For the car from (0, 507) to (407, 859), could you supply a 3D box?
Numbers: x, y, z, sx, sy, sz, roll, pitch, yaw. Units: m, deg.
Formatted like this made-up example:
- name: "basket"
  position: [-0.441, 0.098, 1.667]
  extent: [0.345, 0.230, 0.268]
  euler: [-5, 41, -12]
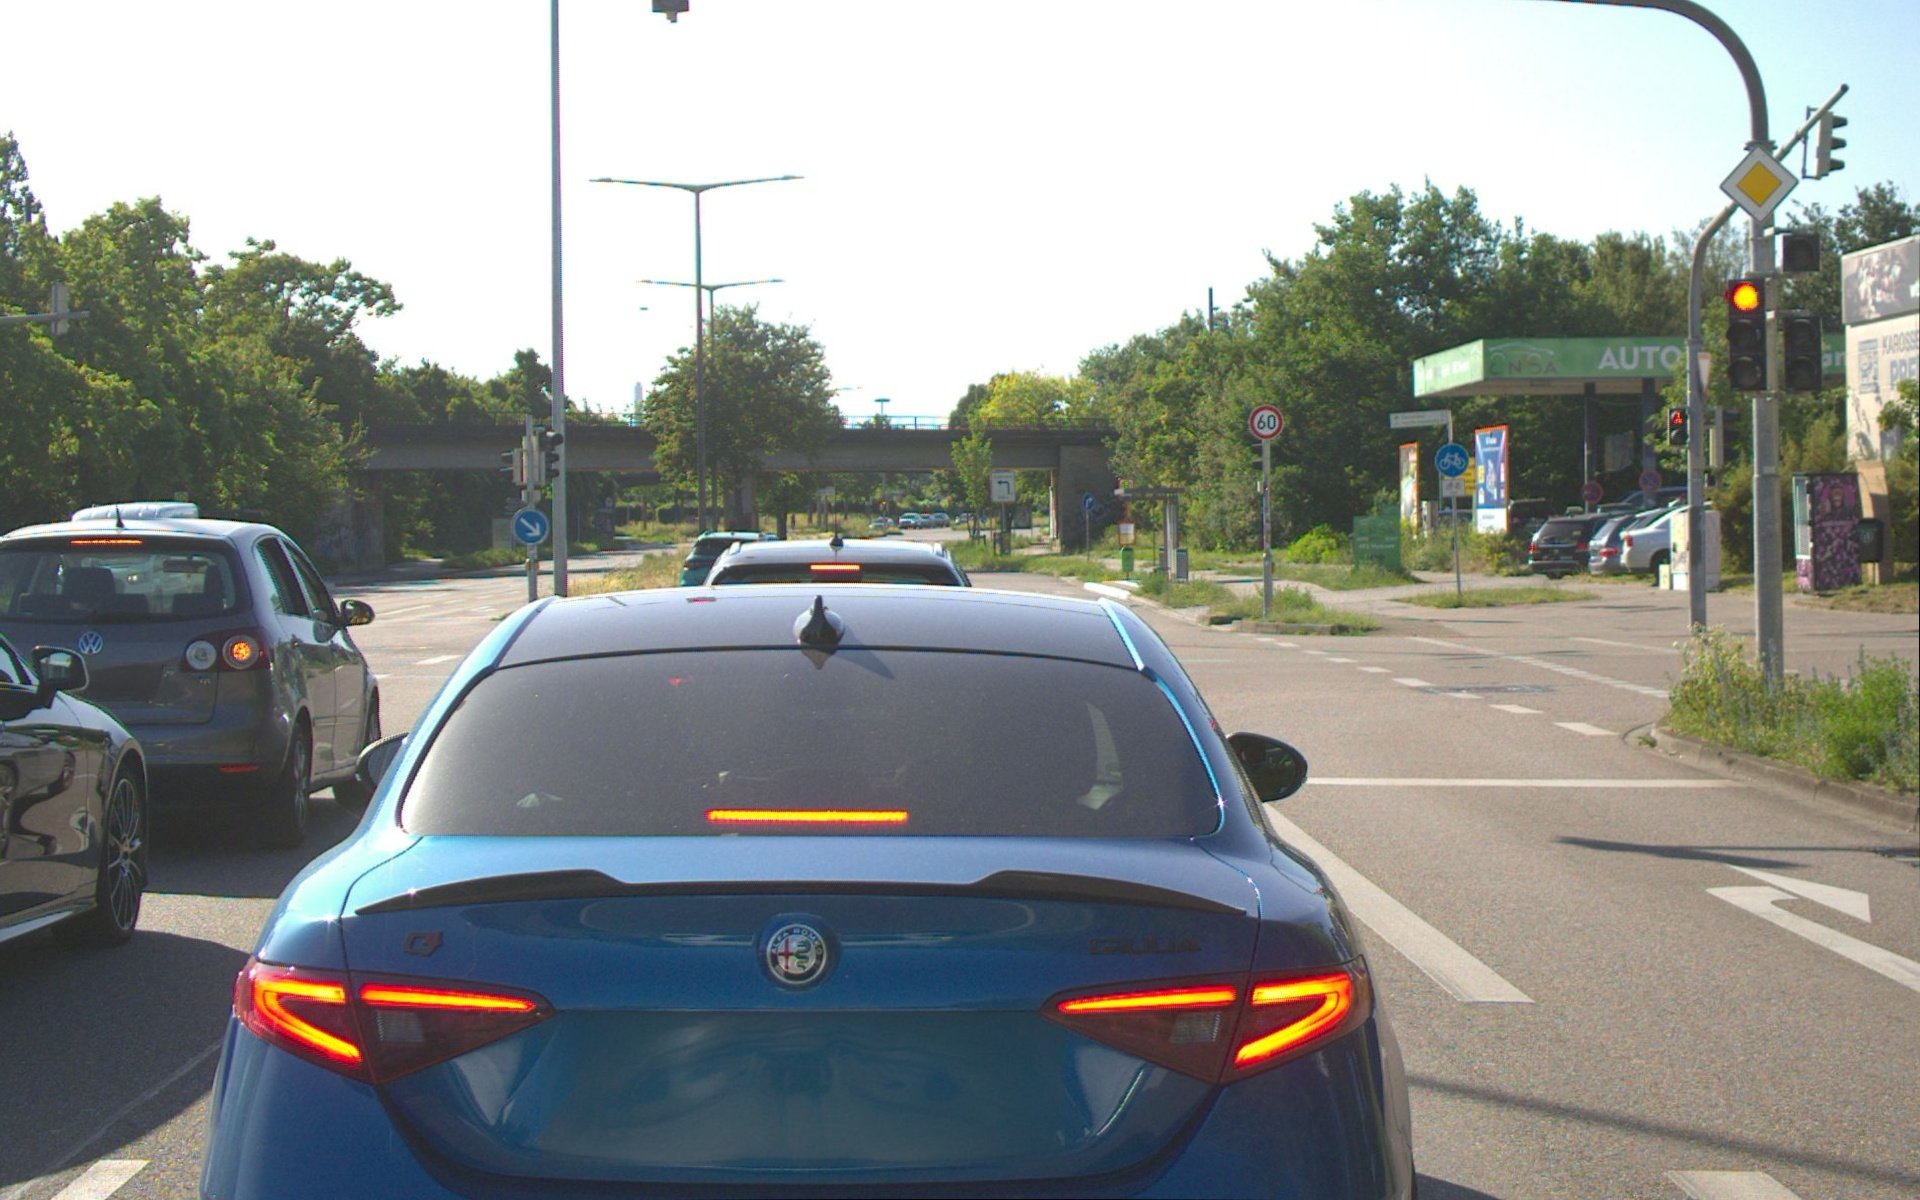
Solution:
- name: "car"
  position: [-3.947, 0.335, 17.562]
  extent: [1.648, 1.593, 3.932]
  euler: [0, 1, -1]

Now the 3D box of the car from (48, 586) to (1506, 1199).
- name: "car"
  position: [-0.258, 0.701, 6.382]
  extent: [1.866, 1.380, 3.932]
  euler: [0, 1, -1]

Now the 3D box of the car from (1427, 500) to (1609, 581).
- name: "car"
  position: [12.022, -1.285, 74.152]
  extent: [3.483, 1.700, 1.696]
  euler: [-1, 1, -16]

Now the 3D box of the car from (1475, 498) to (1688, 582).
- name: "car"
  position: [12.823, -1.248, 70.961]
  extent: [3.986, 1.700, 1.696]
  euler: [-1, 1, -19]

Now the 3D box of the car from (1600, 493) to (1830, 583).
- name: "car"
  position: [14.513, -1.195, 66.105]
  extent: [3.986, 1.700, 1.696]
  euler: [-1, 1, -16]

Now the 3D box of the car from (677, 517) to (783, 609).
- name: "car"
  position: [-4.118, -0.694, 62.052]
  extent: [1.818, 1.589, 4.051]
  euler: [0, 1, -3]

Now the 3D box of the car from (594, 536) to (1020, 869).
- name: "car"
  position: [-0.696, 0.415, 17.077]
  extent: [1.866, 1.445, 3.932]
  euler: [0, 1, -1]

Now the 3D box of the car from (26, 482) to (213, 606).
- name: "car"
  position: [-17.034, -1.168, 70.027]
  extent: [2.431, 2.418, 5.831]
  euler: [0, 1, -1]

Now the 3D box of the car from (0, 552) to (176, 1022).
- name: "car"
  position: [-3.803, 0.576, 10.639]
  extent: [1.768, 1.409, 4.461]
  euler: [0, 1, -1]
